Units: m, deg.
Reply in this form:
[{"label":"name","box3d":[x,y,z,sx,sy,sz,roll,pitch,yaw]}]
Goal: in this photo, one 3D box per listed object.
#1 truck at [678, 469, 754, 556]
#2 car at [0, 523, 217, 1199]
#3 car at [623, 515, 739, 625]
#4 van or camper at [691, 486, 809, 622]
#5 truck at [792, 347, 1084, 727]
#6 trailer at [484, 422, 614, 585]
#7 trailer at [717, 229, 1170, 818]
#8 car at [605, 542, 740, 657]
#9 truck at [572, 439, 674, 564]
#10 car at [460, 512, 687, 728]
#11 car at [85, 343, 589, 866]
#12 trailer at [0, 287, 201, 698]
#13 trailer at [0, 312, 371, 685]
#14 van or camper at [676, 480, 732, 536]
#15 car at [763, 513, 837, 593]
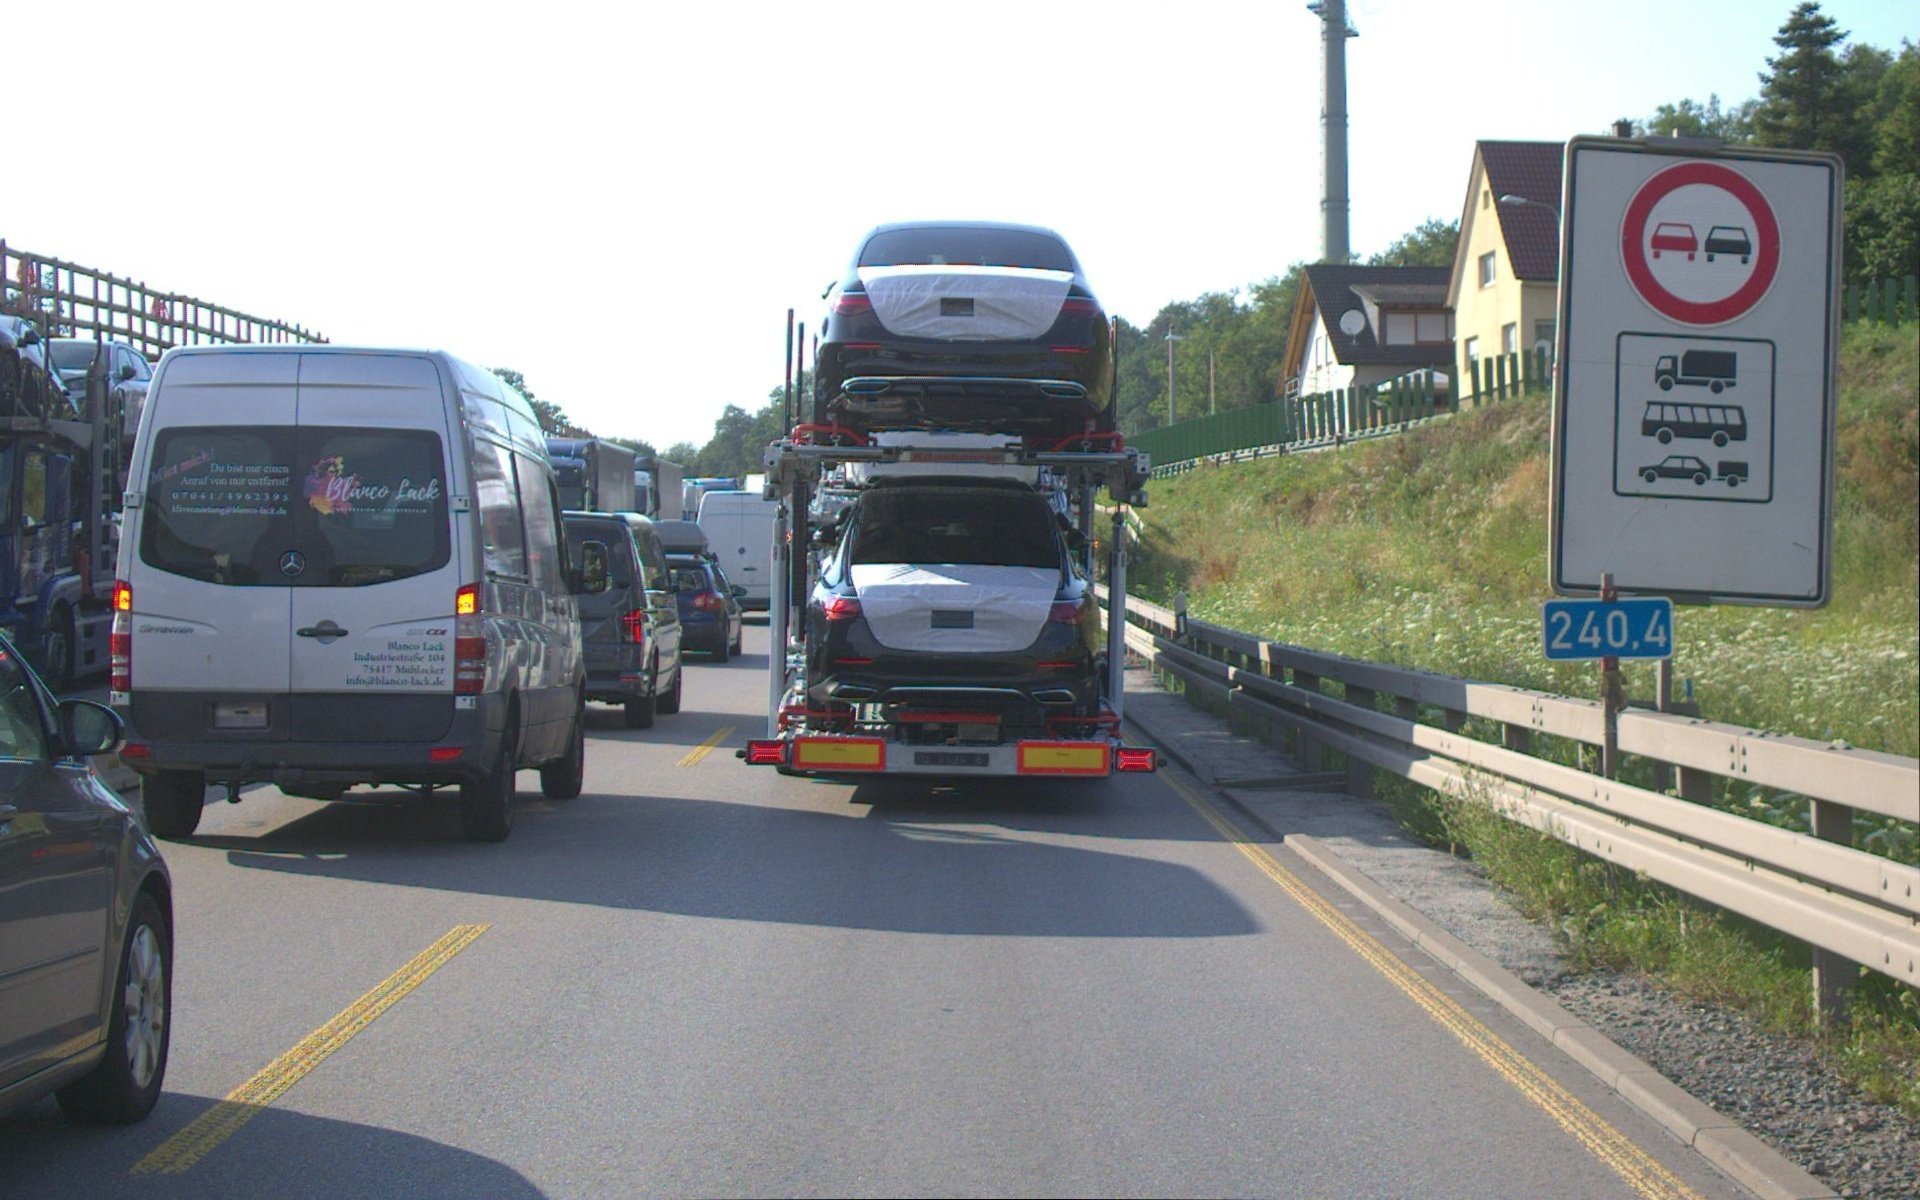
[{"label":"truck","box3d":[-10.192,-3.605,143.999,2.714,3.413,8.142,-2,1,-2]},{"label":"car","box3d":[-2.981,0.616,7.884,1.680,1.583,4.272,0,0,-1]},{"label":"car","box3d":[-6.535,-0.723,80.977,2.471,2.525,4.000,0,1,-1]},{"label":"van or camper","box3d":[-4.170,-0.914,68.907,1.968,2.583,5.042,1,1,1]},{"label":"truck","box3d":[-0.239,-0.637,35.882,2.682,3.522,7.194,1,1,0]},{"label":"trailer","box3d":[-10.867,-2.564,91.312,2.764,4.127,5.977,1,2,-1]},{"label":"trailer","box3d":[-0.163,-0.560,28.492,2.682,3.522,15.289,1,1,0]},{"label":"car","box3d":[-4.115,-0.035,49.671,1.725,1.517,3.974,1,2,-2]},{"label":"truck","box3d":[-11.149,-3.228,114.200,2.860,3.994,5.658,1,1,-1]},{"label":"car","box3d":[-3.627,0.170,32.824,1.808,1.897,4.000,1,0,-2]},{"label":"car","box3d":[-3.442,-0.050,20.133,1.993,2.639,5.531,0,2,-1]},{"label":"trailer","box3d":[-10.438,-1.112,37.213,2.771,4.017,7.208,1,1,0]},{"label":"trailer","box3d":[-10.498,-1.195,45.082,2.771,4.017,15.764,1,1,0]},{"label":"van or camper","box3d":[-12.427,-4.486,167.443,2.312,2.653,6.455,-1,1,-1]},{"label":"car","box3d":[-4.324,-1.293,93.576,1.885,2.092,3.766,1,1,-1]}]
